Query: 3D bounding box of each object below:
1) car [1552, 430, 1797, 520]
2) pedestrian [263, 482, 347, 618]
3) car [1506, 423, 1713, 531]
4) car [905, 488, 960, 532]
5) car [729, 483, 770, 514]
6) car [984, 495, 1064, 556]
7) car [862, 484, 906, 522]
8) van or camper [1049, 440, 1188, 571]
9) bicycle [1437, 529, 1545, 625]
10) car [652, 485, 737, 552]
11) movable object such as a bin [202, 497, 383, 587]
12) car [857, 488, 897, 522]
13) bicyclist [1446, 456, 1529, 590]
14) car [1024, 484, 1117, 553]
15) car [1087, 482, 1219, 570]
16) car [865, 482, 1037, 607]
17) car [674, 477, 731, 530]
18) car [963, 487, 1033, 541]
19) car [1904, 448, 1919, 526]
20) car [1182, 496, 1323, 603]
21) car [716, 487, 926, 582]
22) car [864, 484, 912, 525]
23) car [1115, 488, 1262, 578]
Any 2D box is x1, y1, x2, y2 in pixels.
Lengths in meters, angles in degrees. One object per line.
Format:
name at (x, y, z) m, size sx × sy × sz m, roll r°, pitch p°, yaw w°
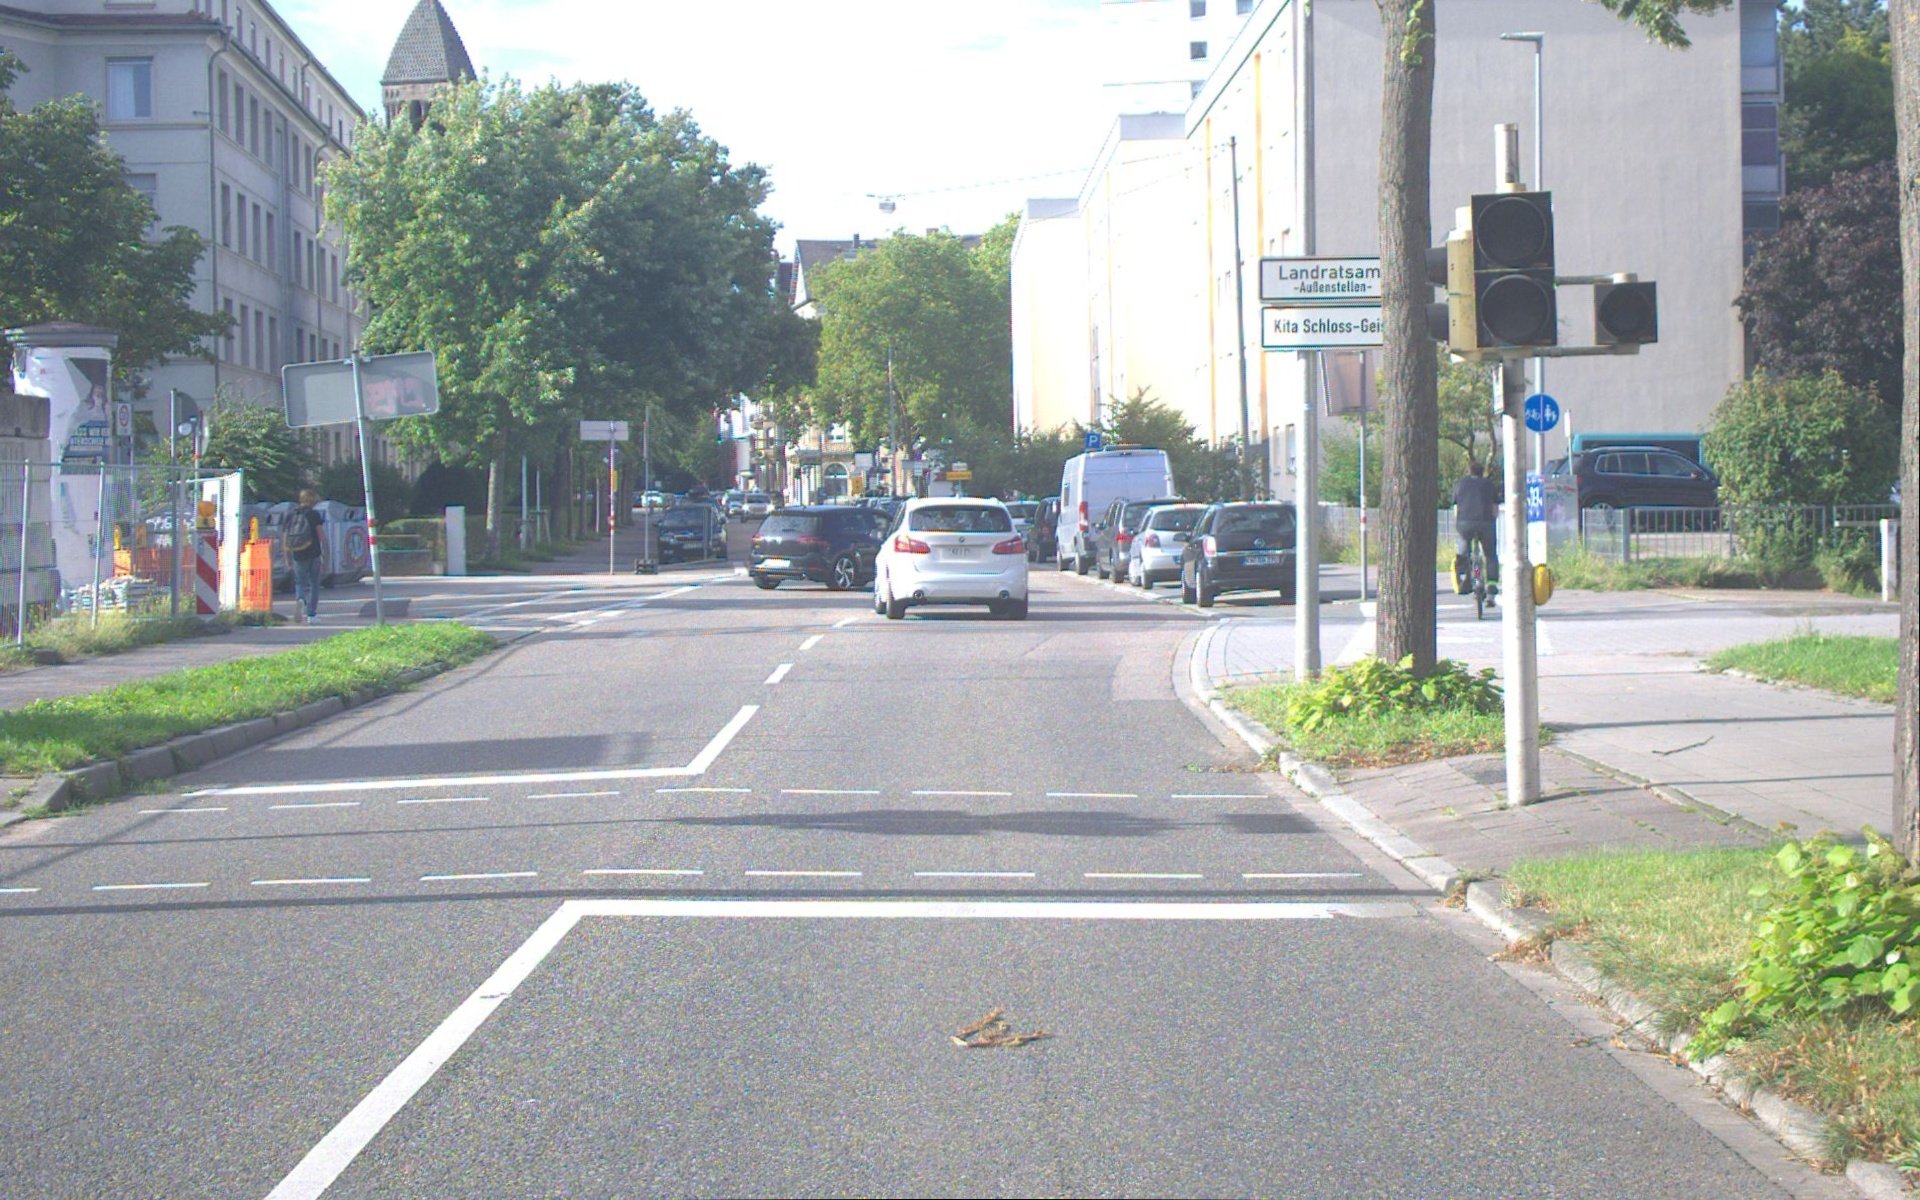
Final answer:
car at (14.092, -2.473, 68.007) m, size 4.449 × 1.616 × 2.000 m, roll -2°, pitch 2°, yaw 3°
pedestrian at (-8.492, -0.652, 44.565) m, size 1.006 × 1.722 × 1.178 m, roll -1°, pitch 1°, yaw -12°
car at (13.983, -2.652, 74.201) m, size 4.120 × 2.178 × 2.000 m, roll -2°, pitch 2°, yaw 3°
car at (-1.079, -3.465, 131.984) m, size 1.993 × 1.568 × 4.001 m, roll -2°, pitch 2°, yaw -1°
car at (-11.784, -5.695, 192.282) m, size 2.055 × 1.658 × 3.927 m, roll -2°, pitch 2°, yaw -7°
car at (1.733, -2.056, 94.478) m, size 1.993 × 1.568 × 4.001 m, roll -2°, pitch 2°, yaw -1°
car at (-3.551, -4.561, 161.466) m, size 1.993 × 1.749 × 4.000 m, roll 0°, pitch 1°, yaw 0°
van or camper at (3.295, -2.015, 72.714) m, size 2.209 × 2.598 × 5.373 m, roll -2°, pitch 2°, yaw -4°
bicycle at (6.203, -0.289, 40.329) m, size 0.740 × 1.031 × 2.762 m, roll -3°, pitch 2°, yaw -1°
car at (-6.924, -2.141, 89.289) m, size 1.993 × 1.634 × 4.001 m, roll -2°, pitch 2°, yaw -7°
movable object such as a bin at (-12.806, -1.116, 65.975) m, size 3.105 × 1.702 × 1.409 m, roll 0°, pitch 1°, yaw 13°
car at (-4.353, -4.997, 181.247) m, size 1.993 × 1.749 × 4.000 m, roll 0°, pitch 1°, yaw 0°
bicyclist at (6.170, -0.903, 40.241) m, size 0.737 × 1.508 × 0.875 m, roll -3°, pitch 1°, yaw -1°
car at (2.671, -2.013, 83.887) m, size 1.993 × 1.568 × 4.001 m, roll -2°, pitch 2°, yaw -1°
car at (3.720, -1.467, 66.932) m, size 1.993 × 1.610 × 4.409 m, roll -2°, pitch 2°, yaw -4°
car at (-0.170, -0.739, 44.891) m, size 1.993 × 1.549 × 4.275 m, roll 0°, pitch 1°, yaw -4°
car at (-10.153, -3.816, 135.853) m, size 1.993 × 2.006 × 4.001 m, roll -2°, pitch 2°, yaw -1°
car at (1.152, -2.694, 106.948) m, size 1.993 × 1.568 × 4.001 m, roll -2°, pitch 2°, yaw -1°
car at (18.624, -2.062, 61.817) m, size 1.993 × 1.437 × 4.001 m, roll -2°, pitch 2°, yaw -3°
car at (4.218, -0.758, 50.140) m, size 1.717 × 1.491 × 4.268 m, roll 0°, pitch 1°, yaw 0°
car at (-2.331, -1.146, 58.689) m, size 1.996 × 1.565 × 3.995 m, roll 1°, pitch 2°, yaw 25°
car at (-3.144, -4.187, 150.873) m, size 1.993 × 1.749 × 4.000 m, roll 0°, pitch 1°, yaw 0°
car at (4.042, -1.211, 61.590) m, size 2.015 × 1.470 × 4.803 m, roll -2°, pitch 1°, yaw -3°
